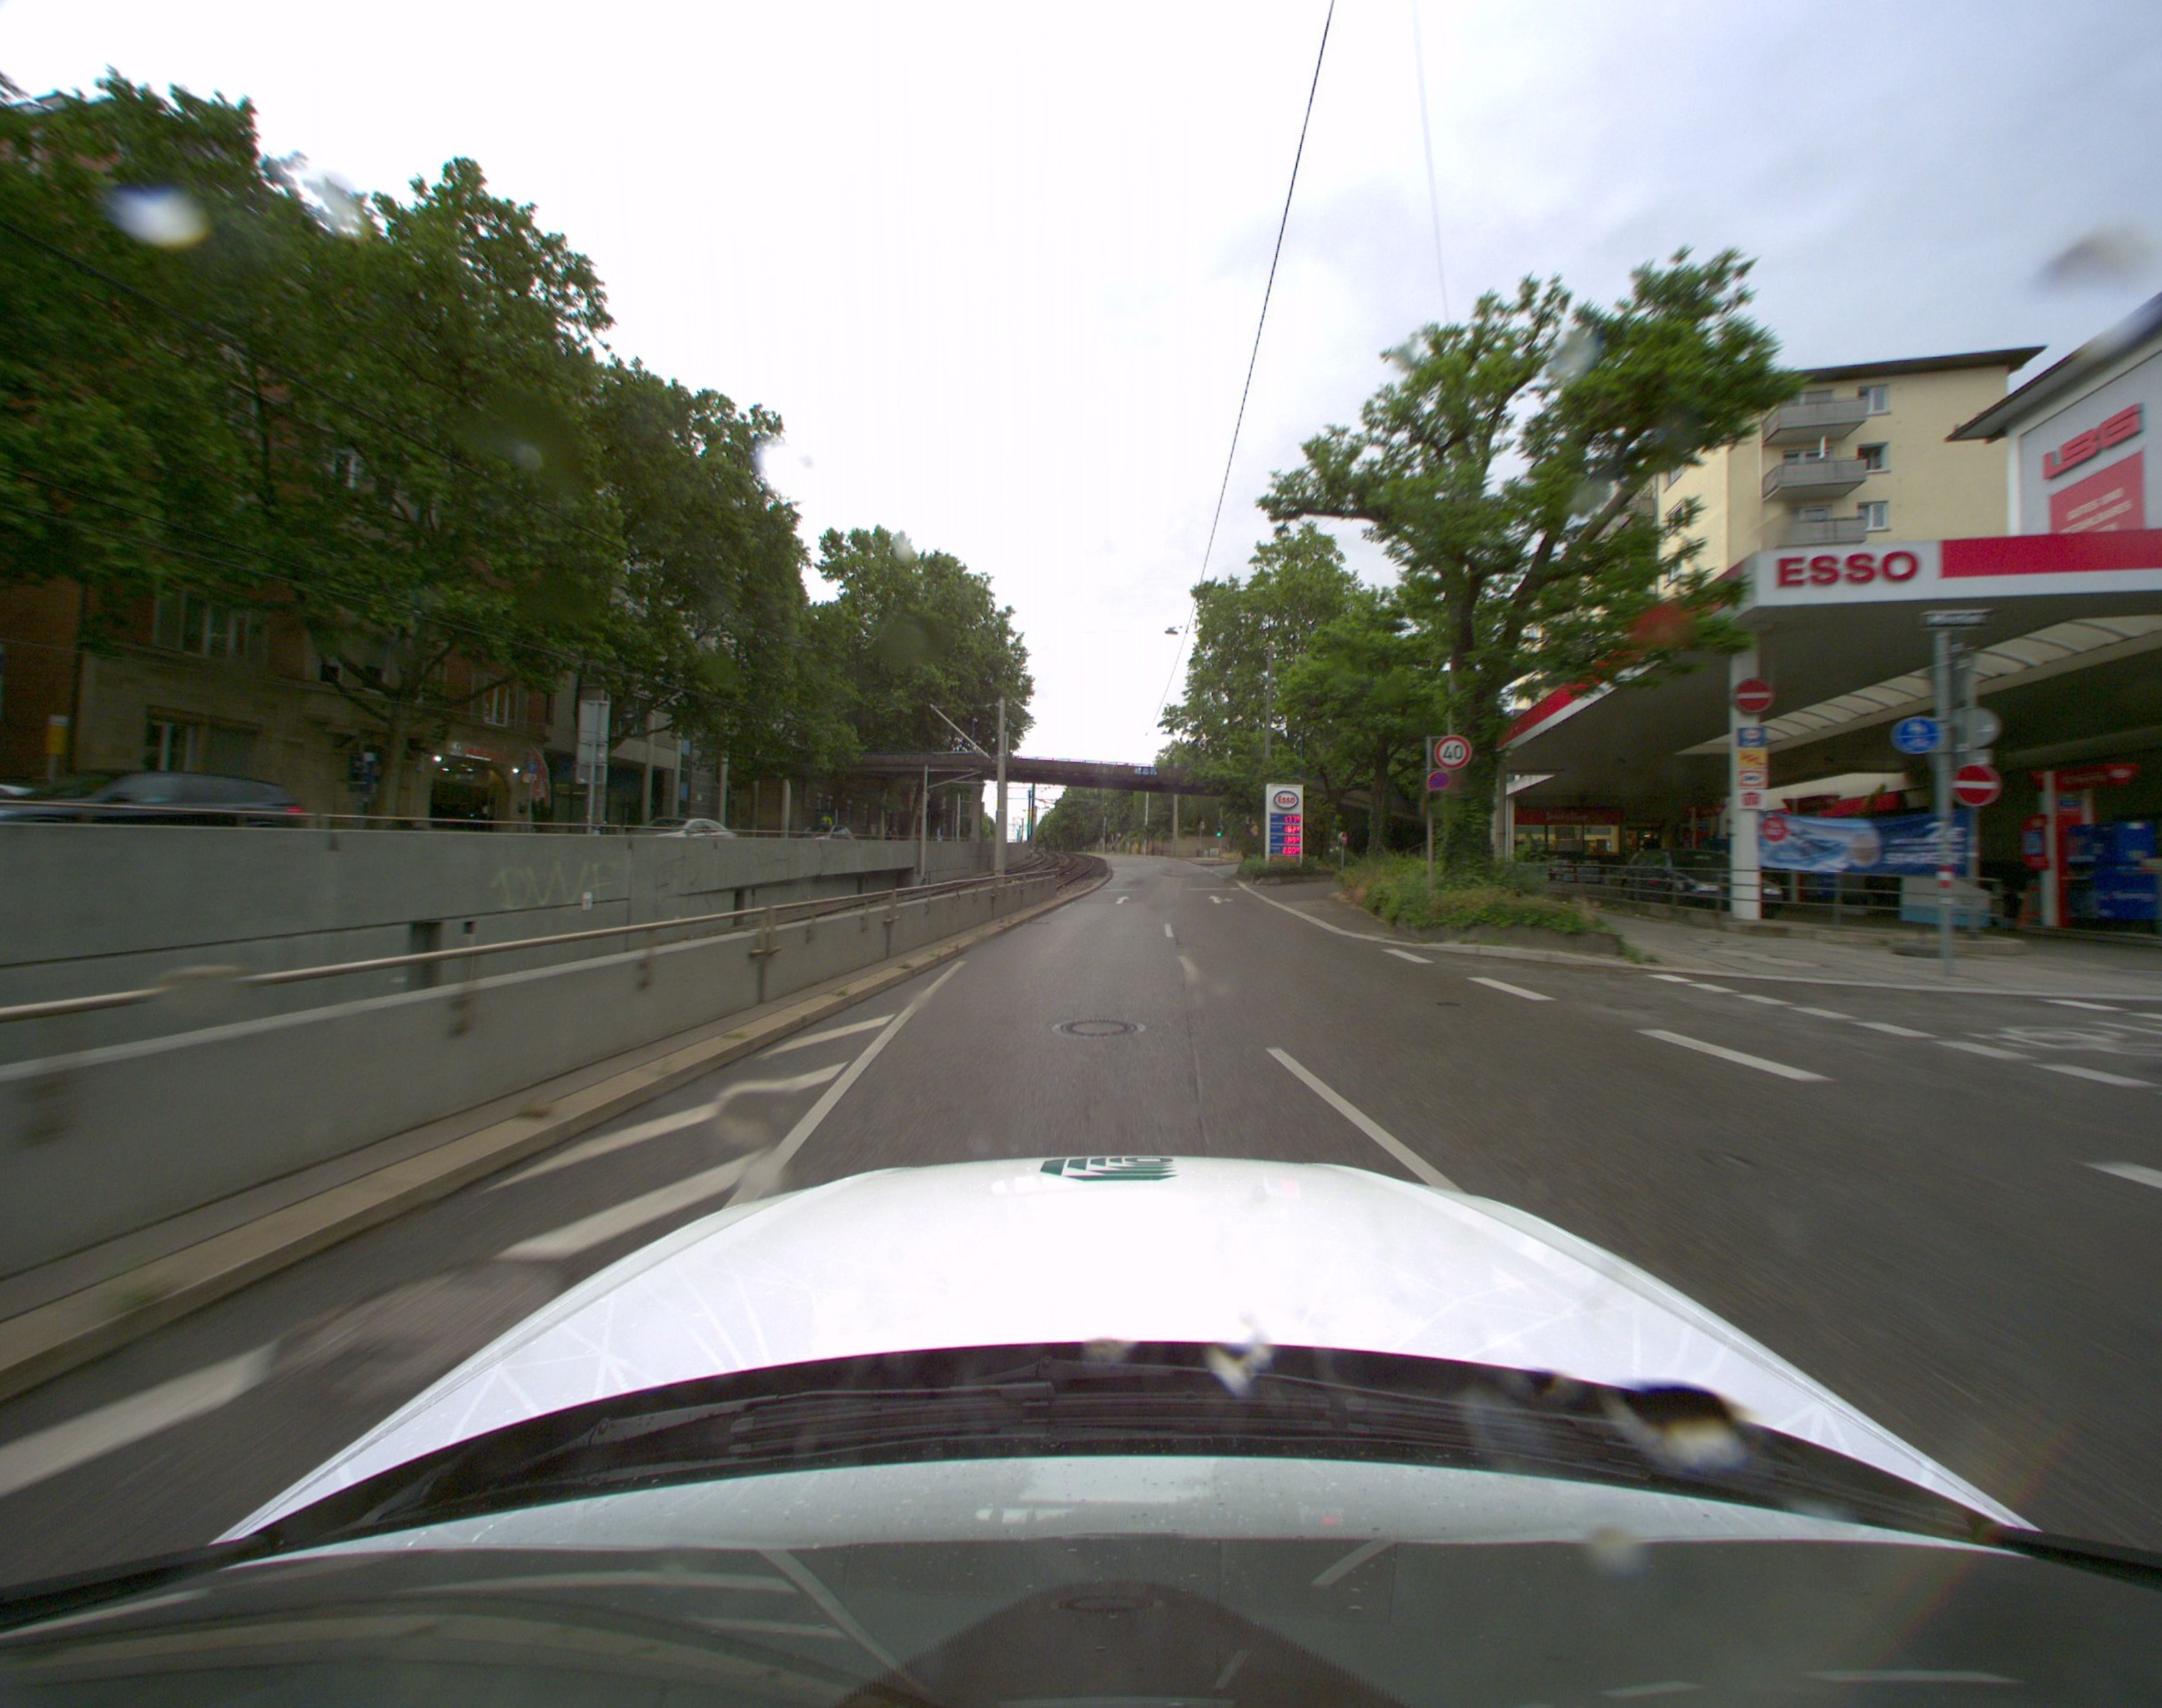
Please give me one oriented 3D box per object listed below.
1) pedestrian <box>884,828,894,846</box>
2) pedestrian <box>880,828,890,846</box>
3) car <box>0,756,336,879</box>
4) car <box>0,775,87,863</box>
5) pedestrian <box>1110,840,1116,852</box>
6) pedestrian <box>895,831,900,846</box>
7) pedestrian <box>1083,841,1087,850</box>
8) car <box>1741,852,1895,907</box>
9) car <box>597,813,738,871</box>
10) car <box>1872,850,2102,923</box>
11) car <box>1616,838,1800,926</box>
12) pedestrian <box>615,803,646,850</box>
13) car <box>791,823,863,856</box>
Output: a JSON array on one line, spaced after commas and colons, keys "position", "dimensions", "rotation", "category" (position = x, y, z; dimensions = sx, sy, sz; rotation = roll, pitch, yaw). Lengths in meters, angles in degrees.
[{"position": [-17.416, -1.539, 73.790], "dimensions": [0.589, 1.624, 0.725], "rotation": [0, 1, 14], "category": "pedestrian"}, {"position": [-17.932, -1.567, 74.422], "dimensions": [0.589, 1.624, 0.725], "rotation": [0, 1, 14], "category": "pedestrian"}, {"position": [-16.945, -0.620, 14.688], "dimensions": [1.945, 1.852, 4.980], "rotation": [3, 1, 9], "category": "car"}, {"position": [-20.756, -0.674, 14.085], "dimensions": [1.784, 1.611, 4.121], "rotation": [3, 1, 7], "category": "car"}, {"position": [5.248, -1.324, 133.721], "dimensions": [0.719, 1.850, 0.781], "rotation": [3, -1, -6], "category": "pedestrian"}, {"position": [-16.745, -1.428, 74.347], "dimensions": [0.333, 1.334, 0.504], "rotation": [-1, 1, 0], "category": "pedestrian"}, {"position": [0.754, -1.705, 164.521], "dimensions": [0.719, 1.687, 0.727], "rotation": [3, -1, -6], "category": "pedestrian"}, {"position": [23.180, 0.778, 25.850], "dimensions": [1.782, 1.510, 4.246], "rotation": [3, 0, 13], "category": "car"}, {"position": [-12.144, -0.350, 24.233], "dimensions": [1.785, 1.510, 4.007], "rotation": [3, 1, 6], "category": "car"}, {"position": [21.897, 0.745, 19.954], "dimensions": [1.782, 1.510, 4.014], "rotation": [3, 0, 13], "category": "car"}, {"position": [12.998, 0.536, 17.202], "dimensions": [1.759, 1.623, 3.882], "rotation": [-1, -1, 16], "category": "car"}, {"position": [-20.118, -1.204, 36.394], "dimensions": [0.665, 2.013, 0.937], "rotation": [3, -1, 10], "category": "pedestrian"}, {"position": [-12.827, -0.700, 41.410], "dimensions": [1.784, 1.510, 4.118], "rotation": [3, 1, 8], "category": "car"}]
